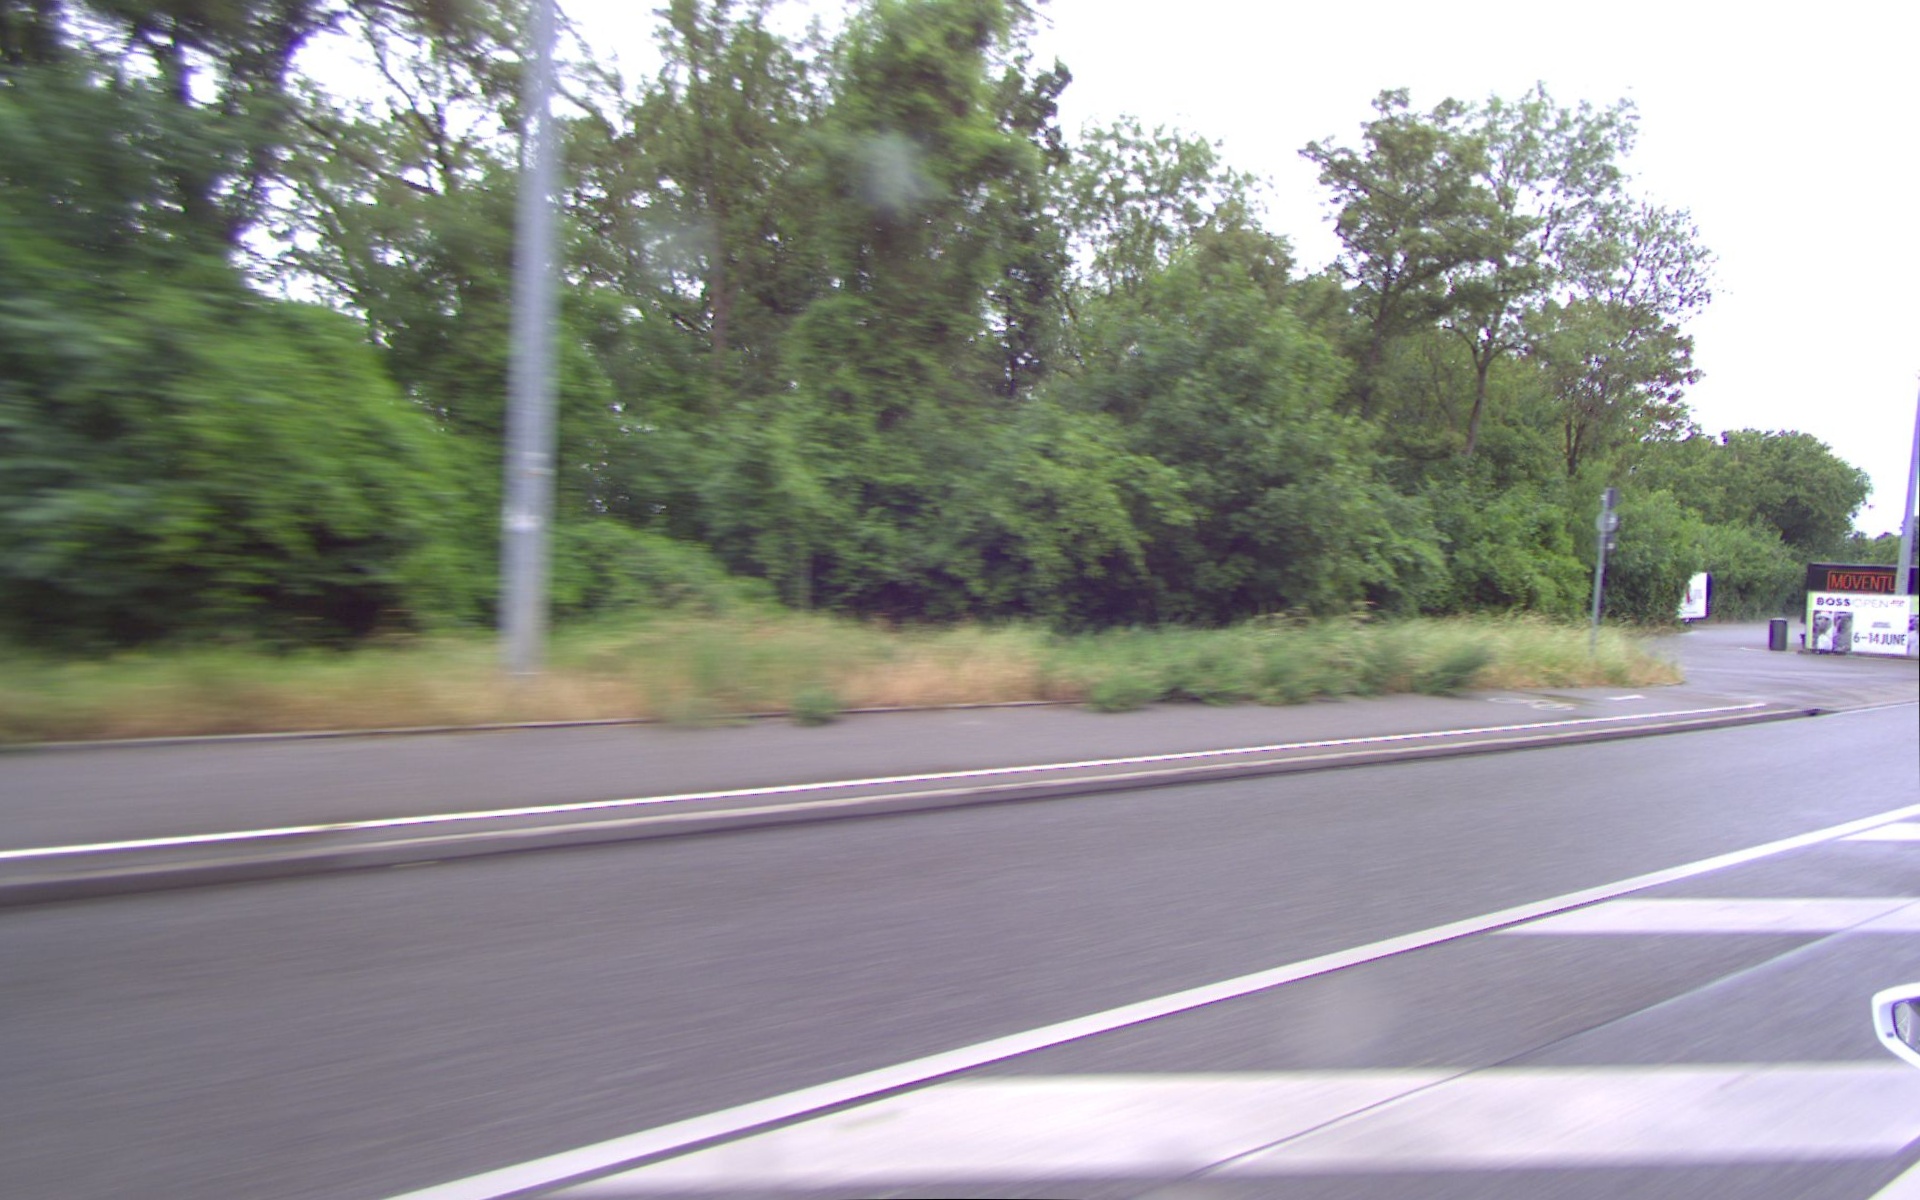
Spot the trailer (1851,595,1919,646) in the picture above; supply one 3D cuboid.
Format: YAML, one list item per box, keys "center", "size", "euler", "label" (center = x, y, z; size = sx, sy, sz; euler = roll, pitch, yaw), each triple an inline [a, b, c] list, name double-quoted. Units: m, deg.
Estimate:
- center: [40.404, 0.875, 42.339]
  size: [1.856, 2.080, 3.956]
  euler: [1, 1, -38]
  label: "trailer"

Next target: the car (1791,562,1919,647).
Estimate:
- center: [36.370, 0.202, 38.750]
  size: [2.730, 3.155, 6.217]
  euler: [2, 1, -41]
  label: "car"

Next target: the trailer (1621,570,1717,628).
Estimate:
- center: [38.163, -0.009, 53.952]
  size: [7.916, 2.912, 2.453]
  euler: [1, 1, -42]
  label: "trailer"
